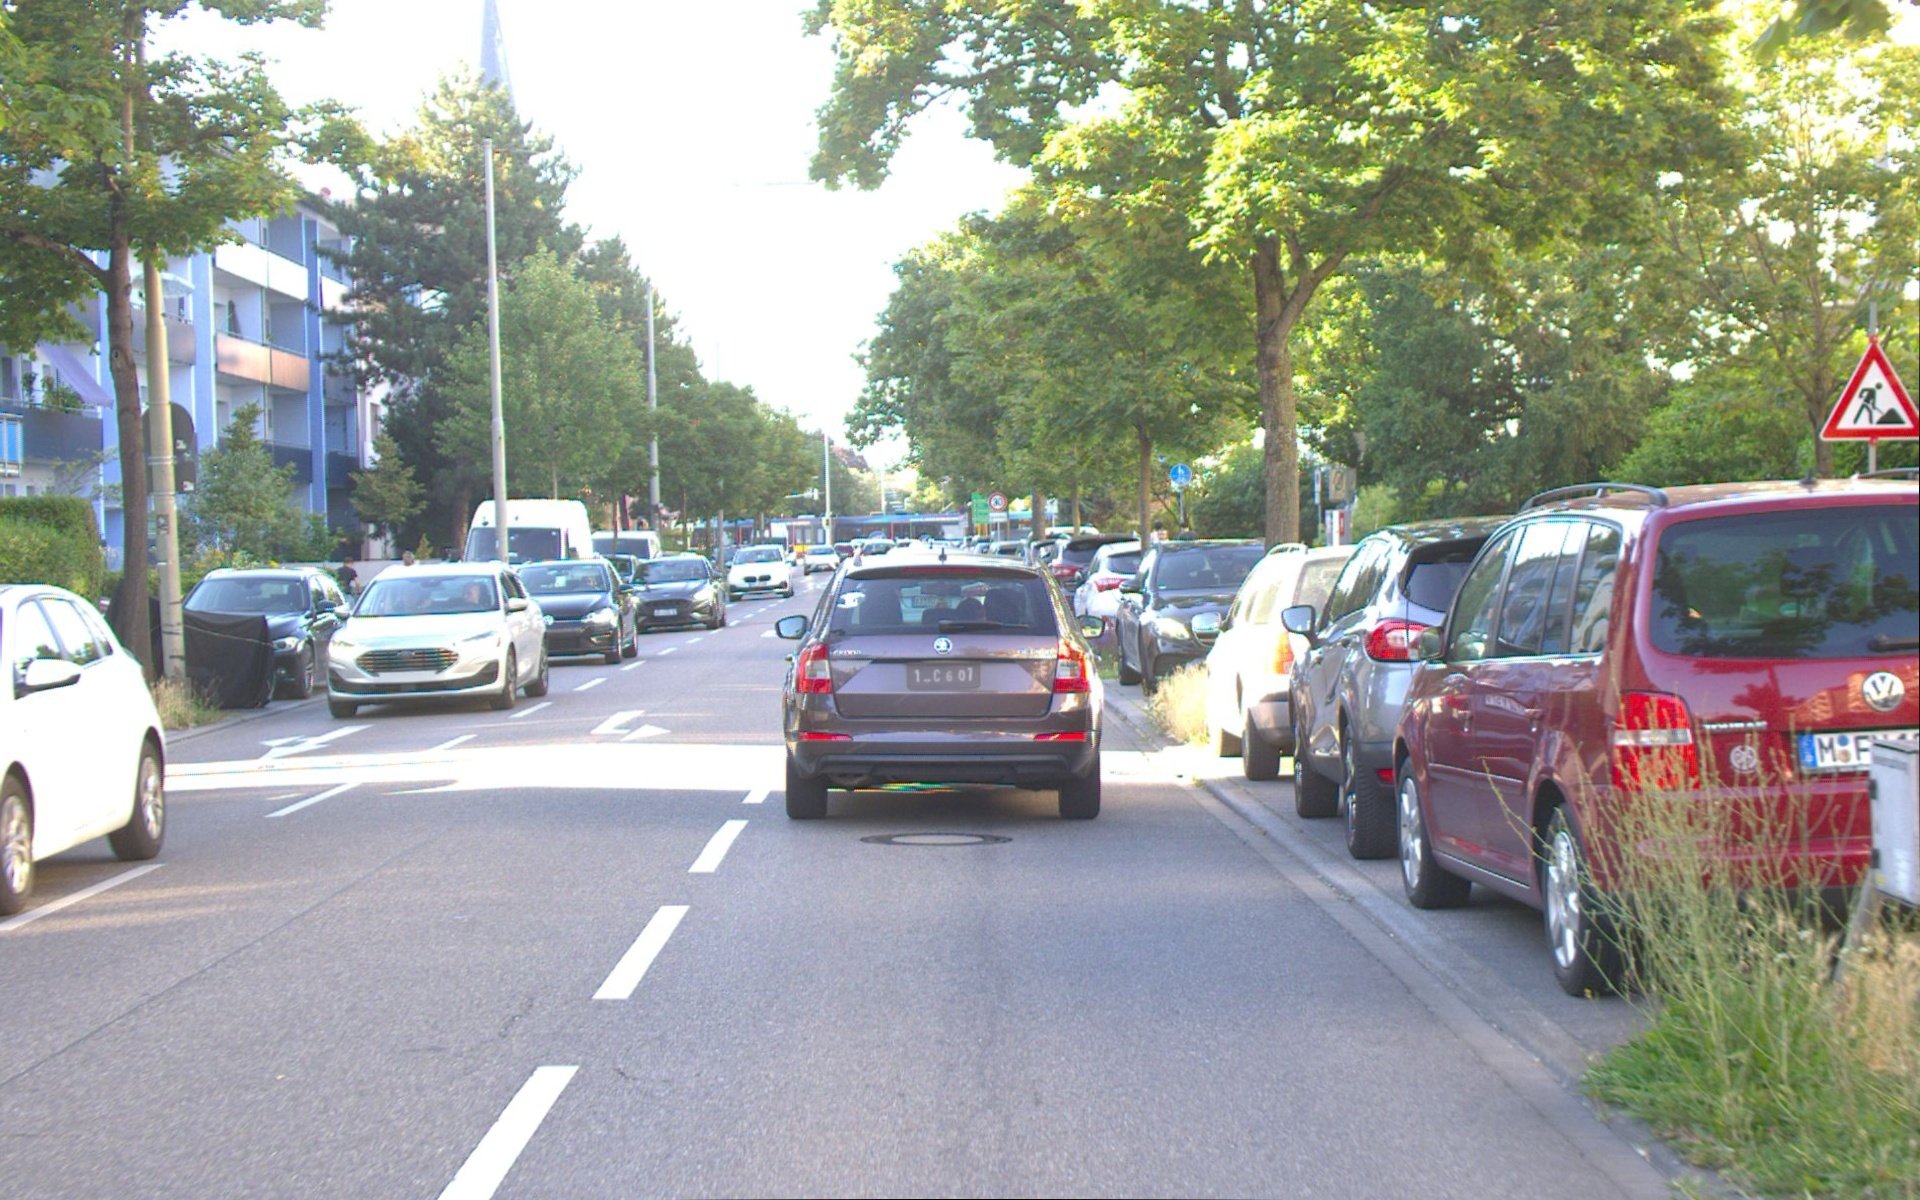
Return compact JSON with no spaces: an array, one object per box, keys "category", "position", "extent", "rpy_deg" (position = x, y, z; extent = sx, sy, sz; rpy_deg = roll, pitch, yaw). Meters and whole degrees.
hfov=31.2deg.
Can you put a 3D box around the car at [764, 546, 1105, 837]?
[{"category":"car","position":[-0.096,0.440,19.752],"extent":[1.754,1.487,4.000],"rpy_deg":[0,1,1]}]

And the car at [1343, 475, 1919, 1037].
[{"category":"car","position":[2.654,0.413,12.512],"extent":[1.721,1.650,4.598],"rpy_deg":[-1,1,-3]}]

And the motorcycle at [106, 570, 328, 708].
[{"category":"motorcycle","position":[-7.693,0.399,35.616],"extent":[2.021,1.384,0.991],"rpy_deg":[1,0,-32]}]

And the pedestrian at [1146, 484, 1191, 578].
[{"category":"pedestrian","position":[3.833,-1.261,63.143],"extent":[0.788,1.694,0.807],"rpy_deg":[-1,1,4]}]

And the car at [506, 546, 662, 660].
[{"category":"car","position":[-5.146,0.013,47.488],"extent":[1.700,1.399,4.028],"rpy_deg":[-3,1,-1]}]

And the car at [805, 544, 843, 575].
[{"category":"car","position":[-7.093,-2.118,179.635],"extent":[1.781,1.489,3.971],"rpy_deg":[-2,1,0]}]

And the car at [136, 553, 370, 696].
[{"category":"car","position":[-8.062,0.230,39.579],"extent":[1.778,1.499,4.589],"rpy_deg":[-1,1,-1]}]

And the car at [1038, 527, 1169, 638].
[{"category":"car","position":[2.163,-0.297,52.588],"extent":[1.718,1.595,4.096],"rpy_deg":[-2,1,-1]}]

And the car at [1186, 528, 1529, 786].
[{"category":"car","position":[2.534,0.302,22.862],"extent":[1.636,1.485,4.416],"rpy_deg":[-2,1,-1]}]

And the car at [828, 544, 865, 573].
[{"category":"car","position":[-7.054,-2.588,213.599],"extent":[1.993,1.744,4.001],"rpy_deg":[-2,1,-6]}]

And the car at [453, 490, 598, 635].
[{"category":"car","position":[-8.219,-0.750,65.661],"extent":[1.993,2.607,7.106],"rpy_deg":[0,1,-1]}]

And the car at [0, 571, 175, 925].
[{"category":"car","position":[-4.998,0.665,15.912],"extent":[1.815,1.441,4.111],"rpy_deg":[-4,1,-2]}]

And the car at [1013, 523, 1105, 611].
[{"category":"car","position":[1.986,-0.693,69.933],"extent":[1.754,1.657,4.252],"rpy_deg":[-2,1,1]}]

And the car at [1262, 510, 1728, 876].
[{"category":"car","position":[2.562,0.377,17.323],"extent":[1.636,1.563,4.000],"rpy_deg":[-2,1,0]}]

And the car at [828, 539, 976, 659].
[{"category":"car","position":[-0.802,-0.018,47.098],"extent":[1.892,1.501,3.790],"rpy_deg":[2,0,-1]}]

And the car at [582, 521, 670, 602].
[{"category":"car","position":[-8.597,-1.013,88.814],"extent":[1.868,2.024,5.301],"rpy_deg":[-1,1,-1]}]

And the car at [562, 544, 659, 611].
[{"category":"car","position":[-8.144,-0.550,80.441],"extent":[1.692,1.478,4.143],"rpy_deg":[-1,1,2]}]

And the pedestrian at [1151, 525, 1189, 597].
[{"category":"pedestrian","position":[5.093,-0.948,83.329],"extent":[0.799,1.716,0.744],"rpy_deg":[-2,1,8]}]

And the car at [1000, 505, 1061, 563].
[{"category":"car","position":[2.092,-1.962,102.091],"extent":[1.754,1.680,4.252],"rpy_deg":[0,1,1]}]

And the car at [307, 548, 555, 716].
[{"category":"car","position":[-5.351,0.276,35.288],"extent":[1.832,1.465,4.452],"rpy_deg":[-4,1,-1]}]

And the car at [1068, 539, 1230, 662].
[{"category":"car","position":[2.433,-0.035,45.161],"extent":[1.718,1.489,4.394],"rpy_deg":[-2,1,-2]}]

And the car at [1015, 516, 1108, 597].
[{"category":"car","position":[2.314,-1.024,79.115],"extent":[1.800,1.802,4.424],"rpy_deg":[0,1,-3]}]

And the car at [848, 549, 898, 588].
[{"category":"car","position":[-3.365,-1.240,132.942],"extent":[1.780,1.475,3.971],"rpy_deg":[0,1,-4]}]

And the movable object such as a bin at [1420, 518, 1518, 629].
[{"category":"movable object such as a bin","position":[7.223,-0.382,48.708],"extent":[1.267,1.487,1.139],"rpy_deg":[-3,1,9]}]

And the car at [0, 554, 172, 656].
[{"category":"car","position":[-13.681,0.053,50.015],"extent":[3.987,1.408,1.916],"rpy_deg":[1,1,0]}]

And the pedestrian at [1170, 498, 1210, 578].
[{"category":"pedestrian","position":[5.470,-1.480,81.705],"extent":[0.799,1.854,0.950],"rpy_deg":[-2,1,10]}]

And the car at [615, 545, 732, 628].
[{"category":"car","position":[-5.497,-0.288,66.381],"extent":[1.700,1.465,4.294],"rpy_deg":[-2,1,2]}]

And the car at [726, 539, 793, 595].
[{"category":"car","position":[-5.867,-0.980,100.593],"extent":[1.879,1.537,4.268],"rpy_deg":[-2,1,-4]}]

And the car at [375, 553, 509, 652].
[{"category":"car","position":[-8.206,0.011,54.731],"extent":[1.612,1.468,3.813],"rpy_deg":[1,1,-1]}]

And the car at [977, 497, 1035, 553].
[{"category":"car","position":[1.600,-2.578,118.460],"extent":[1.916,1.854,5.633],"rpy_deg":[-1,1,1]}]

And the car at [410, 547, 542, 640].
[{"category":"car","position":[-8.322,-0.141,59.367],"extent":[1.706,1.487,4.059],"rpy_deg":[1,1,-1]}]

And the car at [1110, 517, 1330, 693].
[{"category":"car","position":[2.567,0.003,34.936],"extent":[1.874,1.575,4.820],"rpy_deg":[-3,1,1]}]
